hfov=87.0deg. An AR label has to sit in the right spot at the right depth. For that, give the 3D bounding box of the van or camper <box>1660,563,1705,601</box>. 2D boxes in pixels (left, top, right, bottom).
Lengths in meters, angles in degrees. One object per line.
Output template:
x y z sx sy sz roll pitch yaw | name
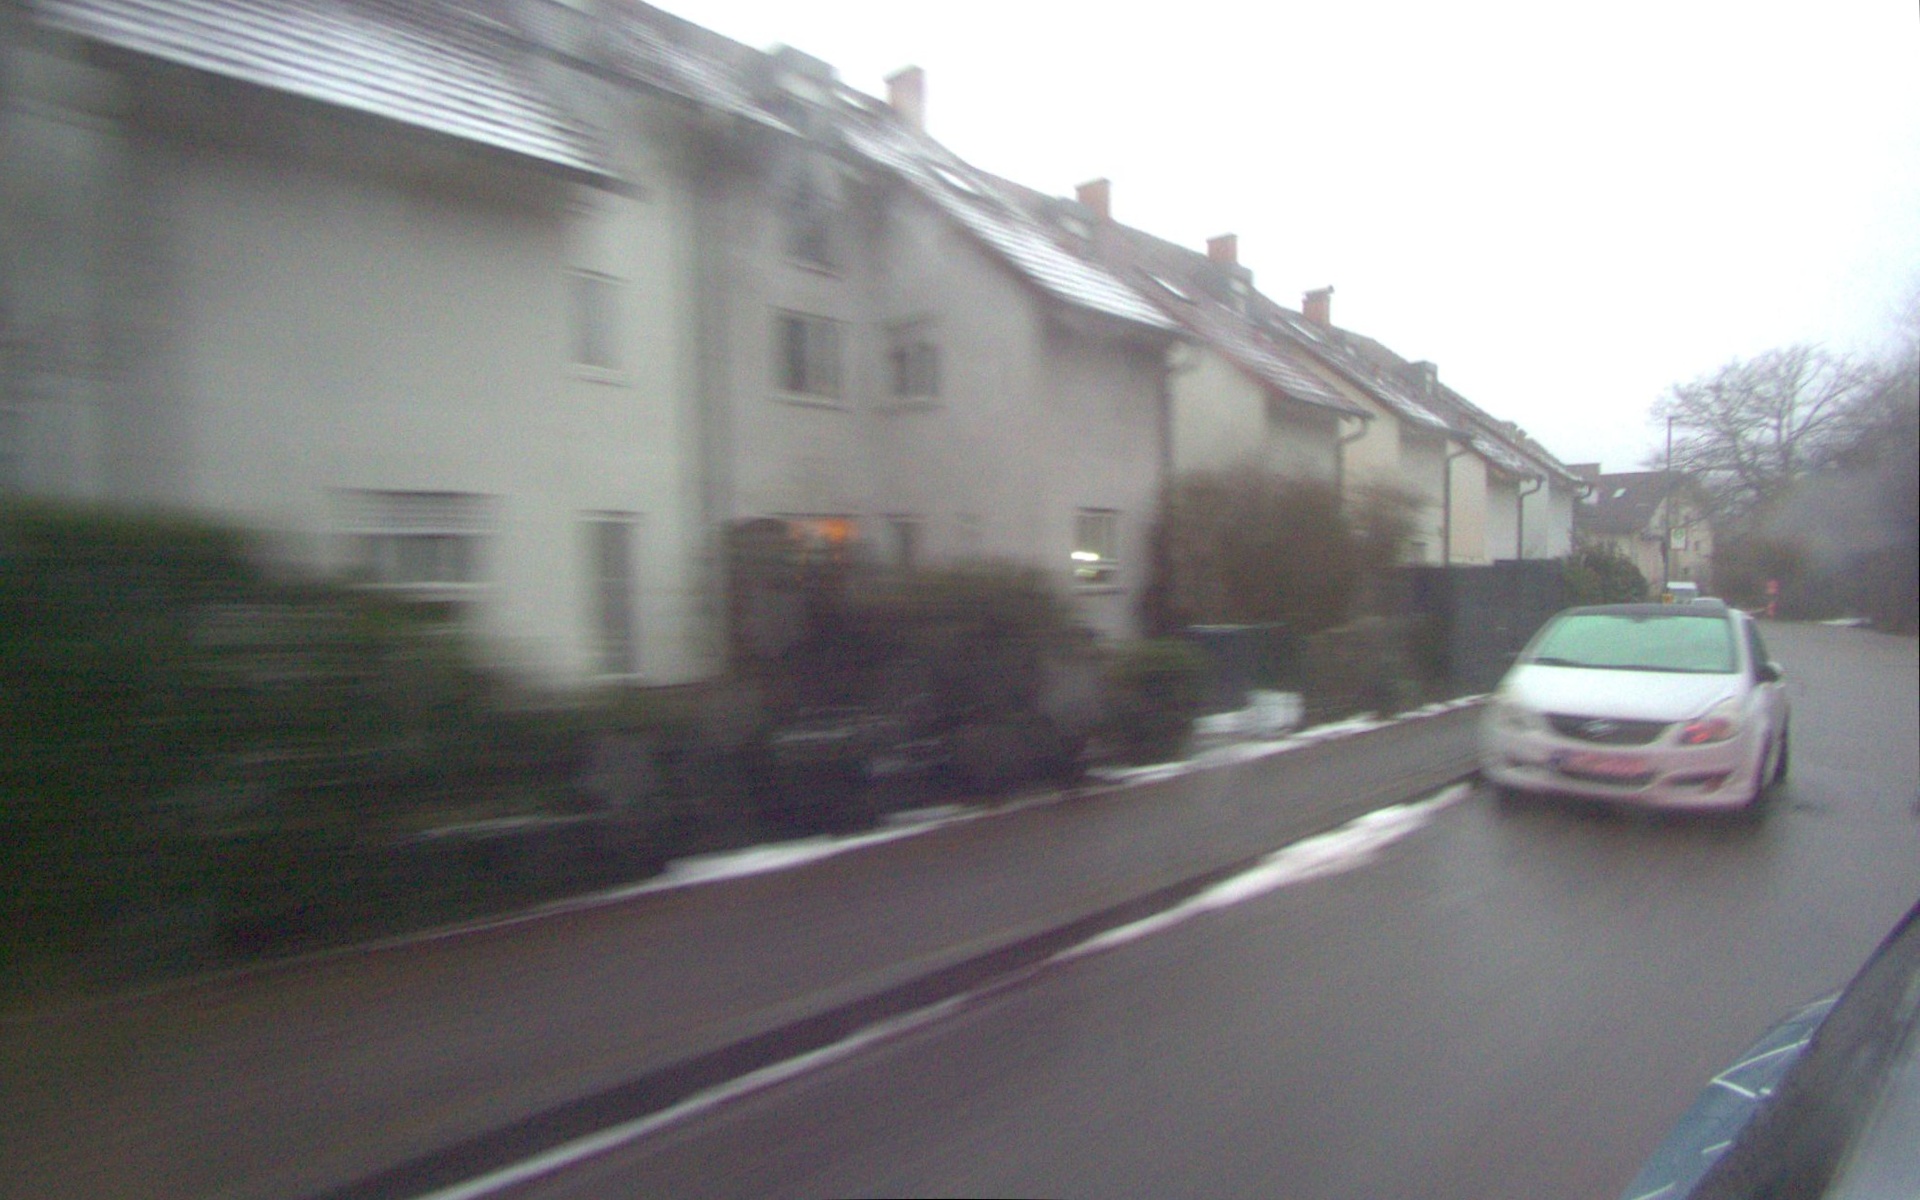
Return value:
50.776 -1.250 71.228 2.005 2.539 6.717 1 1 31 | van or camper

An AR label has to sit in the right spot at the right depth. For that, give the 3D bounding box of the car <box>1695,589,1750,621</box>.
36.898 0.242 49.078 1.730 1.447 4.406 -1 0 32 | car

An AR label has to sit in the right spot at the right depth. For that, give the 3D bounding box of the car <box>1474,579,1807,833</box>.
5.619 0.606 8.135 1.702 1.525 3.964 0 1 42 | car
